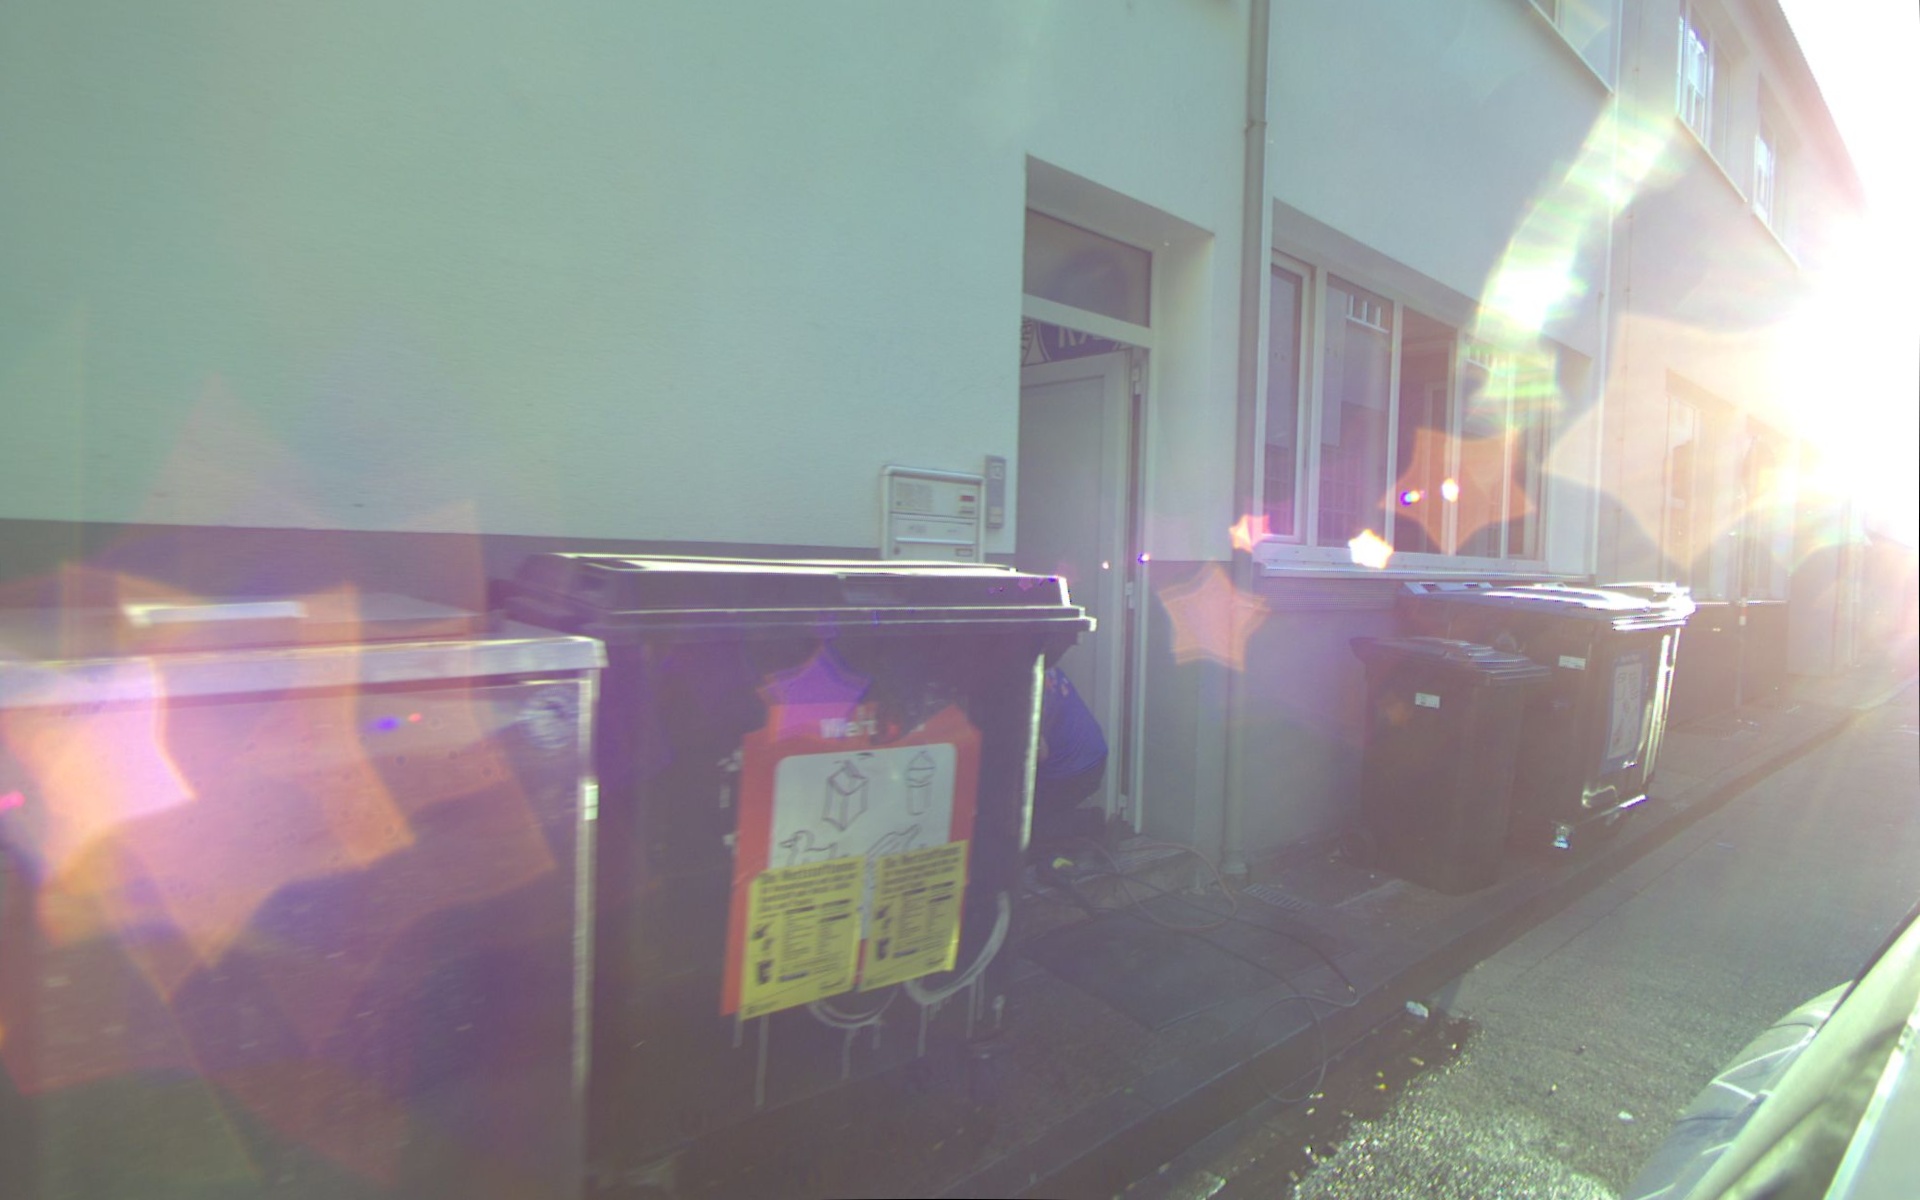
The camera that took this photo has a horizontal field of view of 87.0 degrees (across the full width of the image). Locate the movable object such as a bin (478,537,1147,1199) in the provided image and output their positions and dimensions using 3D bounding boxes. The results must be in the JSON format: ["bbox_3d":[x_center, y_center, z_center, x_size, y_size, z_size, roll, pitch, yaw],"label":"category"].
[{"bbox_3d":[-0.334,0.549,2.377,1.267,1.320,0.838,0,4,-39],"label":"movable object such as a bin"}]

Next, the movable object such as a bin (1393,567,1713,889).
[{"bbox_3d":[3.140,0.553,5.347,1.320,1.383,1.066,-1,5,-44],"label":"movable object such as a bin"}]

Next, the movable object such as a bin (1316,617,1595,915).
[{"bbox_3d":[2.222,0.668,4.564,0.726,1.087,0.870,-1,5,-44],"label":"movable object such as a bin"}]

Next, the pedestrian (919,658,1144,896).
[{"bbox_3d":[0.298,0.681,4.208,0.708,0.820,0.609,1,0,-43],"label":"pedestrian"}]

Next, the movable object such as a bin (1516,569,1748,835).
[{"bbox_3d":[4.174,0.531,6.262,0.937,1.383,1.322,6,5,41],"label":"movable object such as a bin"}]
